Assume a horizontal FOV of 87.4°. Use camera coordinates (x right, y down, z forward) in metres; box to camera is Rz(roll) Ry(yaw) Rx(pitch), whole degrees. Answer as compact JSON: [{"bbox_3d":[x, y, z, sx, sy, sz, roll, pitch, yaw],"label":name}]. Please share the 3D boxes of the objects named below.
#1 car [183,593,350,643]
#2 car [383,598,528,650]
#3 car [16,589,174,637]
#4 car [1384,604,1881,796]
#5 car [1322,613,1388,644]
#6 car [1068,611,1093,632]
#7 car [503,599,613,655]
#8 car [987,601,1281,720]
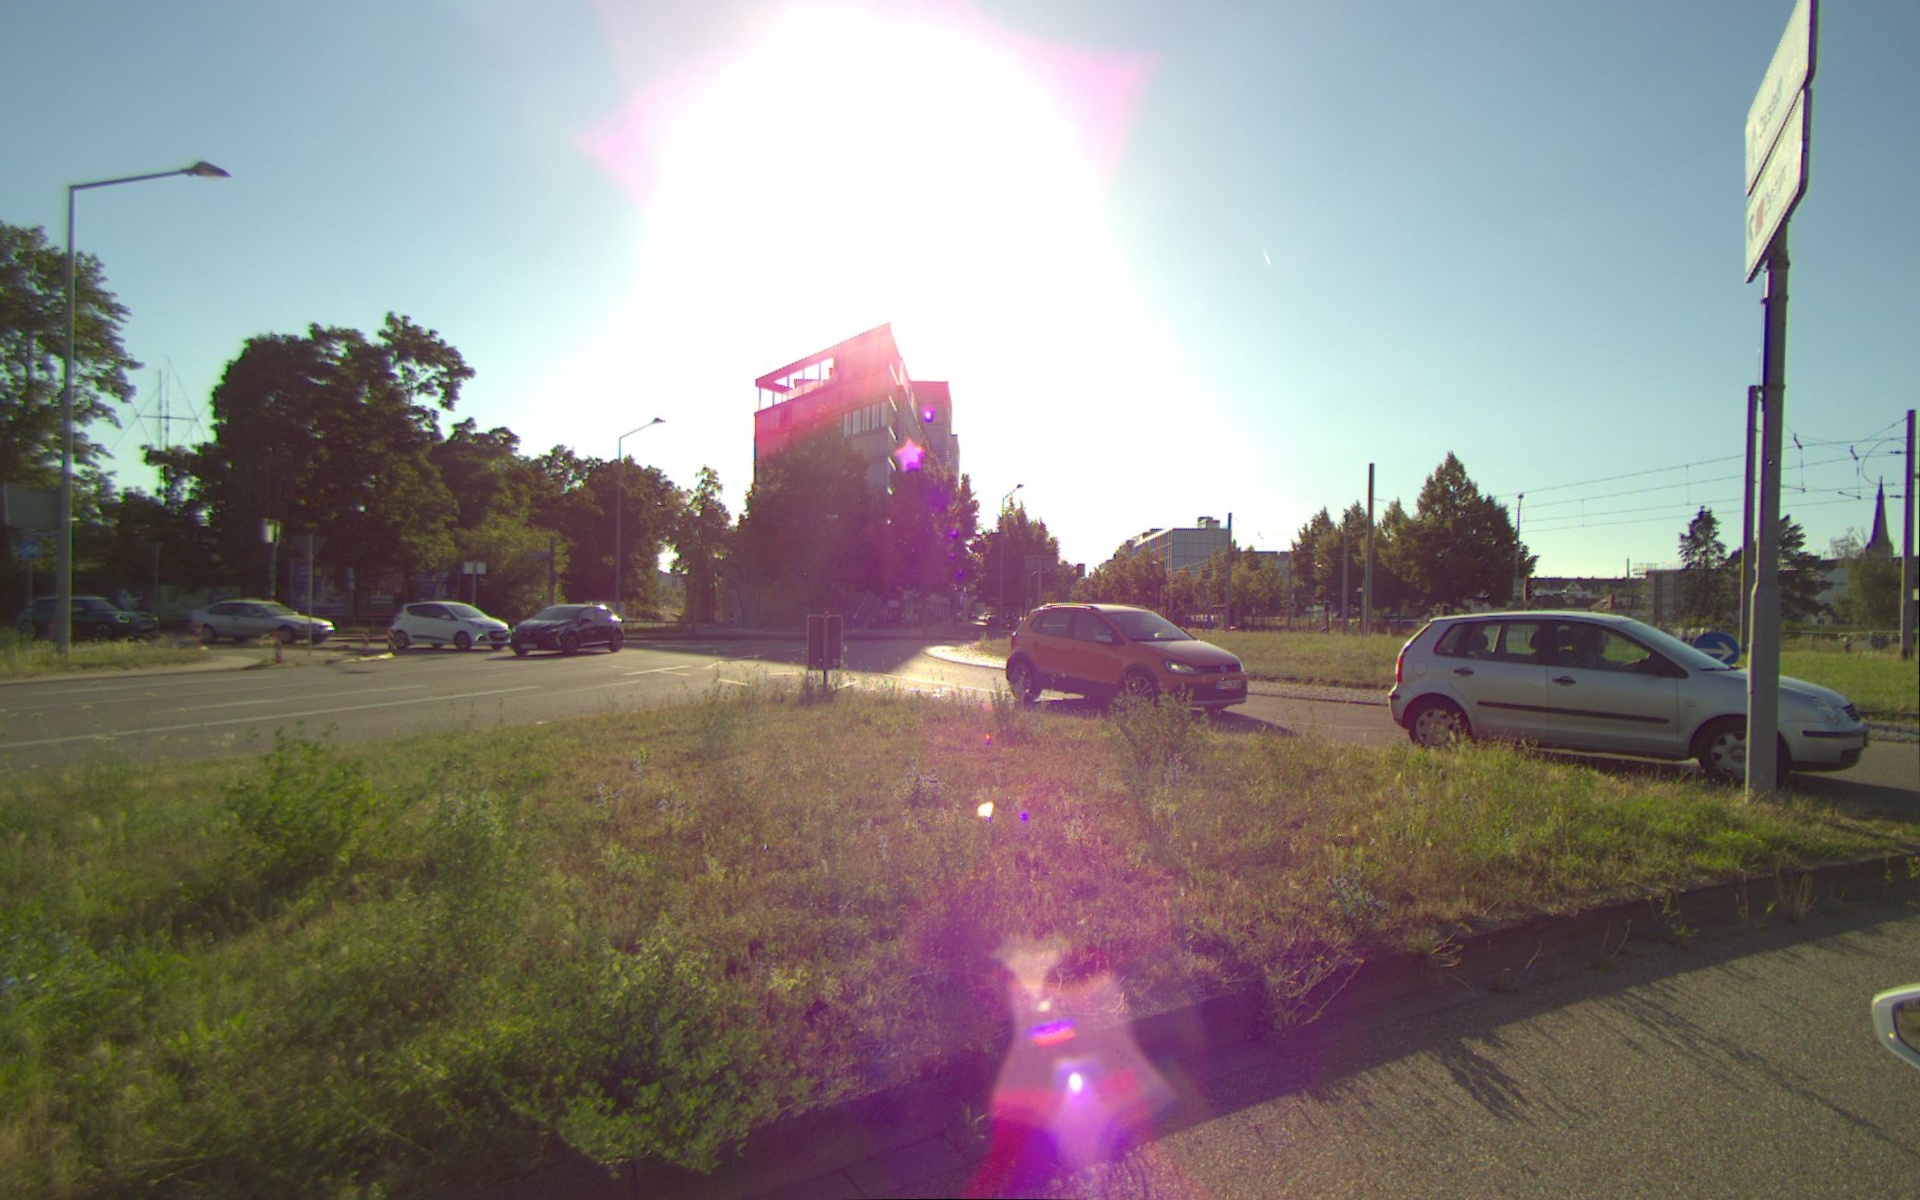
[{"bbox_3d":[-22.986,0.585,33.403,4.223,1.528,1.875,1,0,1],"label":"car"},{"bbox_3d":[-16.086,0.744,32.063,3.896,1.528,1.849,1,0,16],"label":"car"},{"bbox_3d":[-28.972,0.434,33.724,3.635,1.528,1.875,1,0,1],"label":"car"},{"bbox_3d":[6.353,0.794,9.747,1.823,1.453,3.710,1,-1,-44],"label":"car"},{"bbox_3d":[27.798,2.007,70.759,3.934,2.040,1.994,1,0,-16],"label":"car"},{"bbox_3d":[11.865,2.122,99.172,1.961,2.040,4.000,1,-1,-1],"label":"car"},{"bbox_3d":[-11.464,0.754,28.860,1.478,1.473,3.464,1,-1,6],"label":"car"},{"bbox_3d":[2.382,0.771,14.678,1.891,1.464,4.097,1,-1,-36],"label":"car"}]
